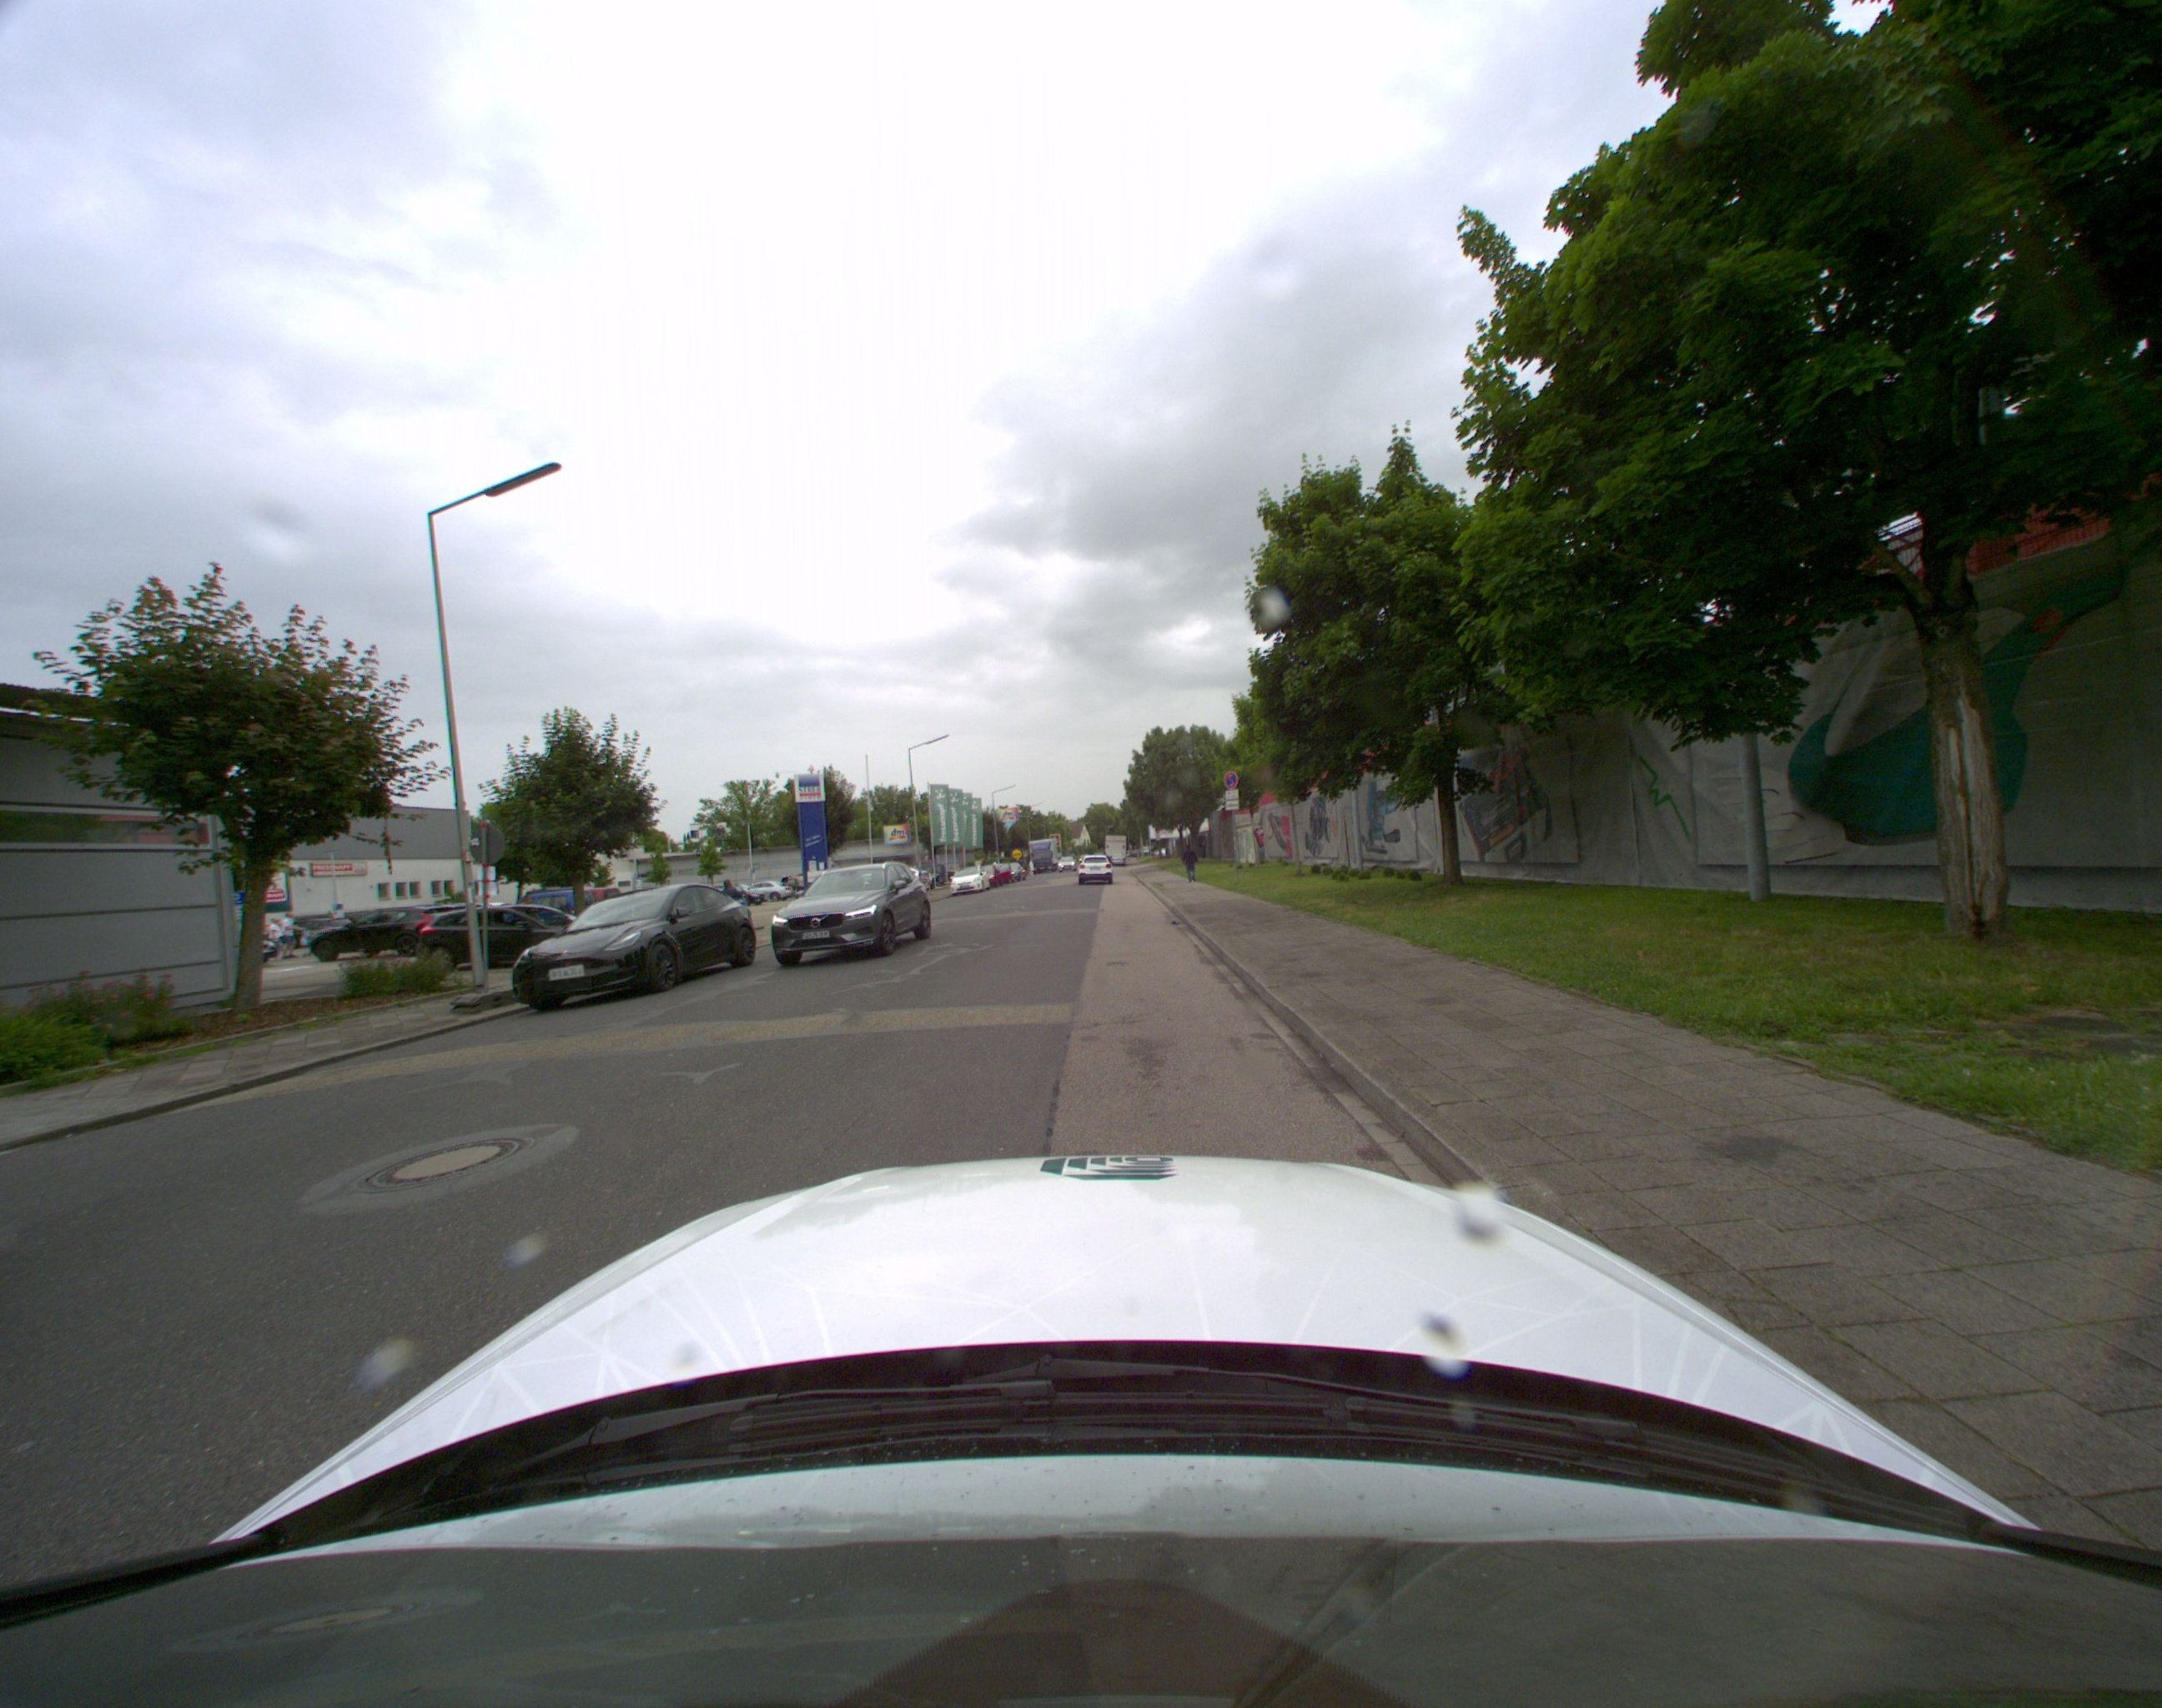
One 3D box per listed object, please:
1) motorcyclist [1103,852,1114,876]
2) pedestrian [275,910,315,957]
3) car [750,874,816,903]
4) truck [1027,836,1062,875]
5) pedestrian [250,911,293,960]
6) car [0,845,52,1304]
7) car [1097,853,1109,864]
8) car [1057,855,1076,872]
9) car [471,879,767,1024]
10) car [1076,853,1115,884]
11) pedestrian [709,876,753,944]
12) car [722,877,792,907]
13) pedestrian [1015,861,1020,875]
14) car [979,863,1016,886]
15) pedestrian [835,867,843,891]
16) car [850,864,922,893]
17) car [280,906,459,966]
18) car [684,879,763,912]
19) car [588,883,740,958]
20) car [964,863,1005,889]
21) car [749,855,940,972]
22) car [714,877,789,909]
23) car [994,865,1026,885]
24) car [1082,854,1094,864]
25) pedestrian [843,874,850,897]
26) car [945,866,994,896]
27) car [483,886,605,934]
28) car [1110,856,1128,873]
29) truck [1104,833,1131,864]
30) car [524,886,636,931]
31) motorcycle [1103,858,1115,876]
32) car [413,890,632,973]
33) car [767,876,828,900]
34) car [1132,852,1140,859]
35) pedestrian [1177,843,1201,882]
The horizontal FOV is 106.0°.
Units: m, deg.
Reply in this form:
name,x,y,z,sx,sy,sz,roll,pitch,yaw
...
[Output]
name,x,y,z,sx,sy,sz,roll,pitch,yaw
motorcyclist,1.876,0.681,56.162,0.622,1.554,0.605,-4,0,4
pedestrian,-30.102,3.033,31.203,0.797,1.715,0.696,-3,0,-2
car,-21.694,2.491,59.376,3.972,1.669,1.877,-5,0,2
truck,-4.010,0.145,91.195,2.962,3.955,6.409,-6,0,3
pedestrian,-29.862,3.007,30.059,0.797,1.715,0.696,-3,0,-2
car,-5.152,0.921,1.237,1.683,1.760,4.138,-5,0,3
car,3.698,0.673,137.396,1.863,1.662,4.000,-5,0,1
car,-1.422,0.954,81.935,1.592,1.528,3.530,-6,-1,3
car,-7.015,1.369,13.062,1.940,1.526,4.404,-8,0,1
car,0.841,0.749,43.608,1.879,1.531,4.257,-2,0,3
pedestrian,-9.276,1.477,21.580,0.773,1.715,0.696,-4,-1,-2
car,-22.657,2.637,57.011,3.972,1.669,1.877,-5,0,2
pedestrian,-7.457,1.642,95.285,0.401,1.531,0.485,-5,0,-4
car,-5.880,1.439,57.827,1.890,1.367,4.002,-4,0,2
pedestrian,-16.515,1.691,55.636,0.359,1.570,0.502,-4,0,-11
car,-12.618,1.576,52.891,4.127,1.463,1.896,-5,0,-4
car,-23.639,2.687,27.235,3.993,1.485,1.867,-5,0,-14
car,-22.273,2.551,50.815,3.972,1.669,1.877,-5,0,2
car,-13.667,2.132,26.874,3.923,2.013,1.758,-5,0,-5
car,-6.149,1.382,52.194,1.890,1.367,4.002,-4,0,2
car,-4.145,0.944,15.177,1.926,1.684,4.498,-5,0,2
car,-21.515,2.515,53.242,3.972,1.669,1.877,-5,0,2
car,-5.479,1.620,63.592,1.890,1.367,4.002,-4,0,2
car,1.167,0.945,142.935,1.986,1.684,4.000,-3,-1,1
pedestrian,-16.112,2.148,55.988,0.330,1.570,0.502,-4,0,-11
car,-6.189,1.473,45.549,1.890,1.367,4.002,-5,0,2
car,-23.491,2.418,35.722,3.972,1.669,1.877,-5,0,2
car,4.459,1.248,96.238,1.986,1.806,4.000,-3,-1,1
truck,4.598,-0.620,105.346,3.124,3.585,10.052,-3,-1,1
car,-23.408,2.528,38.135,3.972,1.669,1.877,-5,0,2
motorcycle,1.901,0.873,55.751,0.638,1.178,2.116,-4,0,4
car,-13.286,1.820,19.543,3.858,1.620,1.929,-3,0,2
car,-22.056,2.618,63.355,3.971,1.492,1.787,-4,0,2
car,13.549,0.428,199.978,1.879,1.683,4.257,-2,0,3
pedestrian,4.738,0.378,35.736,0.915,1.635,0.853,-3,-1,4
